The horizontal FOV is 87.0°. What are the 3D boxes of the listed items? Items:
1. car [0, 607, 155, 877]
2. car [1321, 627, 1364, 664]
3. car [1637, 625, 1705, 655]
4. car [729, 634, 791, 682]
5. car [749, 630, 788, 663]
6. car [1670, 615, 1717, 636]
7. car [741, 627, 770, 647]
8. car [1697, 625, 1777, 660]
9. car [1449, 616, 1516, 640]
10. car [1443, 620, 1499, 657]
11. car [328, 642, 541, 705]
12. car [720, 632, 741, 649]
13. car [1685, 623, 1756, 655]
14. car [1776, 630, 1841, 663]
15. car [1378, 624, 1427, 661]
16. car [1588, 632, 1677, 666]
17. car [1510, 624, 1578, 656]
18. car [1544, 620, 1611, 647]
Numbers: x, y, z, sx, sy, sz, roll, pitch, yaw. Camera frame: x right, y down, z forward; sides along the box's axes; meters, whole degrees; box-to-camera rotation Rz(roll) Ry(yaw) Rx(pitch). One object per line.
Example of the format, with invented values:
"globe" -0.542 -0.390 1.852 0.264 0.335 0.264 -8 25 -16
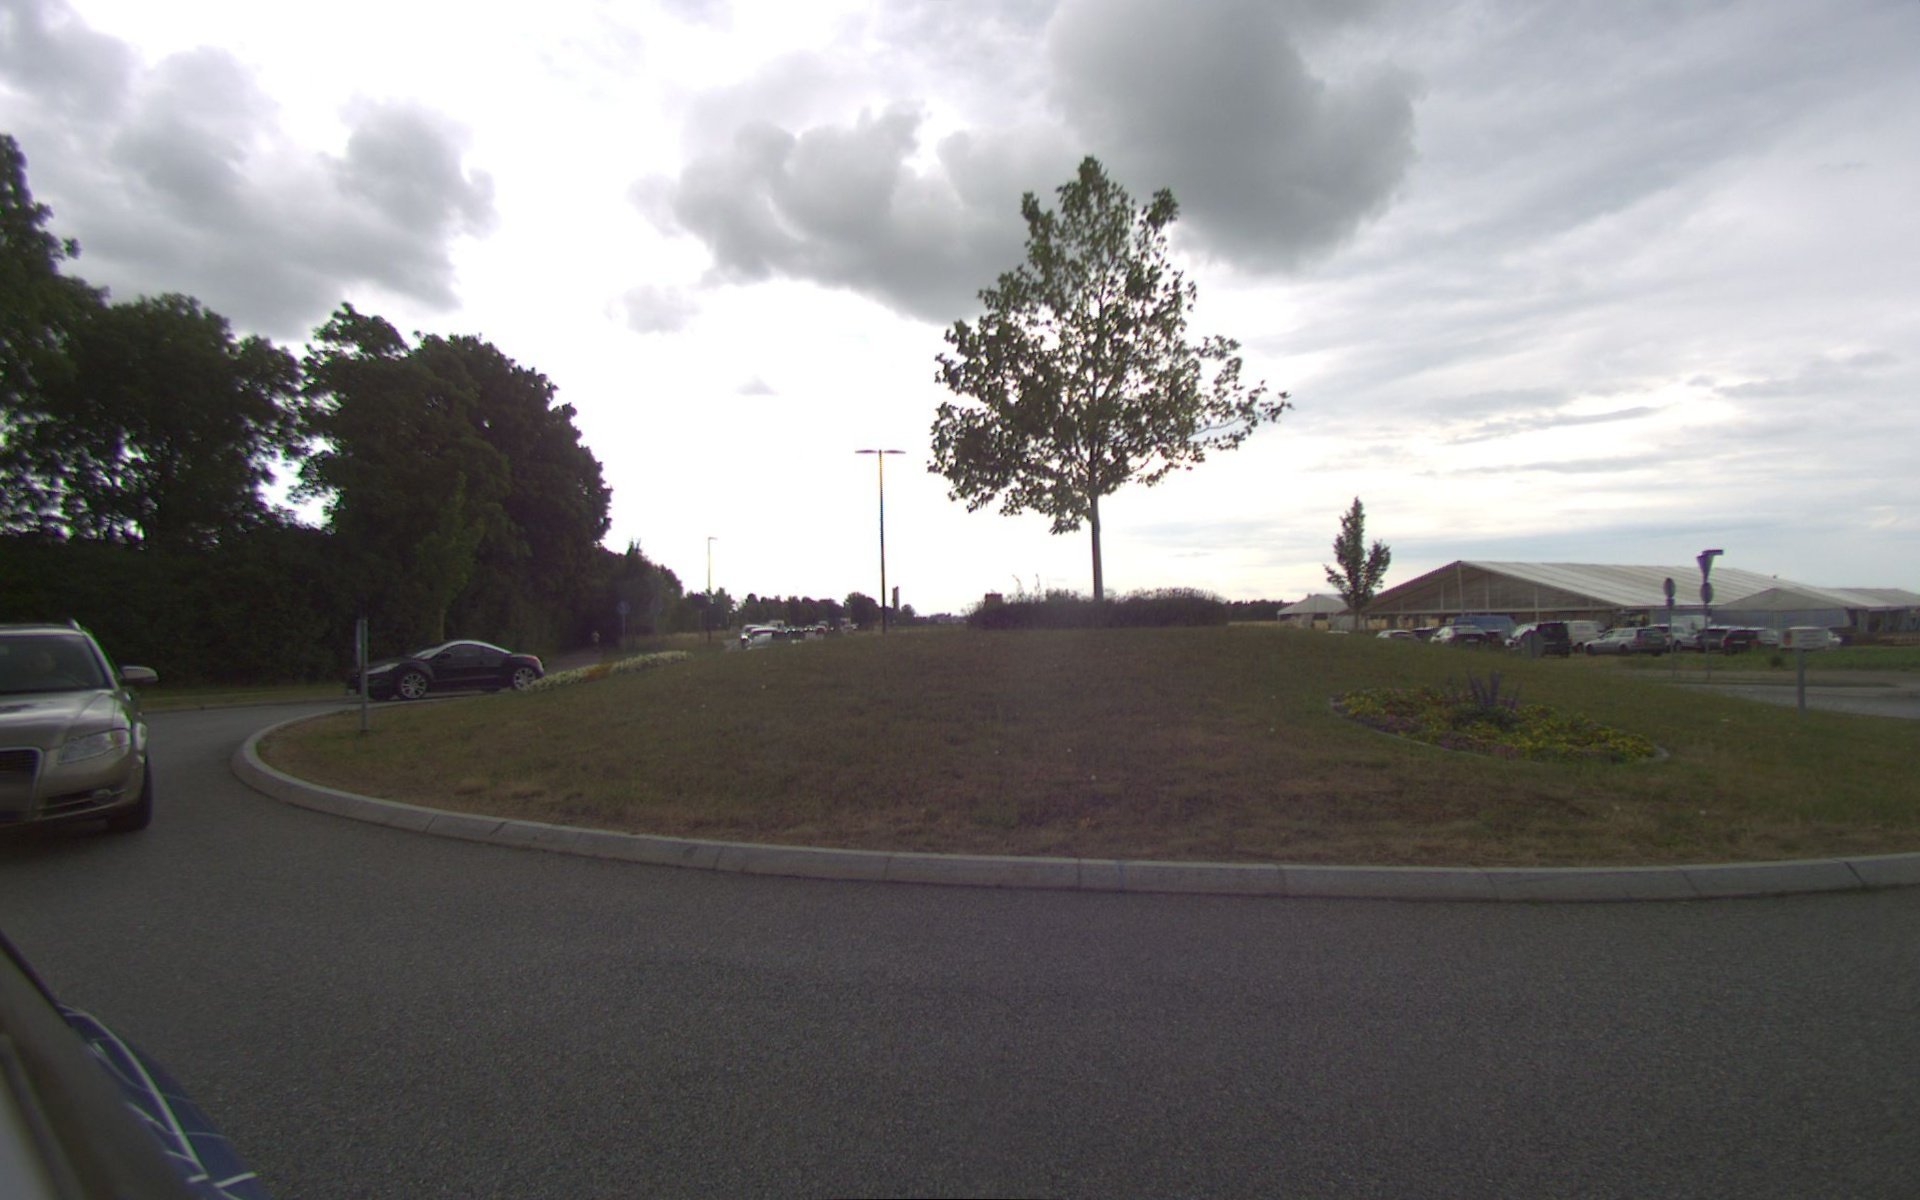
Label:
"car" -7.010 0.874 7.173 1.756 1.476 4.546 -2 0 -42
"car" 19.051 2.242 50.558 1.702 1.565 3.977 -4 -1 18
"car" 39.872 2.227 56.724 3.765 1.619 1.840 0 -2 -34
"car" -6.881 1.977 35.212 1.812 1.469 4.142 -1 -1 -7
"car" -9.581 2.323 50.814 1.753 1.510 3.817 -2 -1 -9
"car" 59.531 2.065 82.161 3.765 1.619 1.840 0 -2 -34
"car" -14.670 2.663 72.483 1.752 1.328 3.821 -2 -1 -14
"car" 37.526 2.030 48.983 1.621 1.619 3.857 -2 -2 15
"car" 34.635 1.839 67.048 3.931 1.453 1.958 -1 -1 -27
"car" 24.935 1.857 49.511 1.702 1.565 3.977 -4 -1 18
"car" -12.208 1.674 23.698 1.829 1.317 4.060 -4 -4 40
"car" -20.373 3.574 89.786 1.752 1.328 3.821 -2 -1 -14
"car" 40.961 2.102 54.500 3.765 1.619 1.840 0 -2 -34
"car" 43.508 2.368 51.878 3.936 1.565 1.735 0 -2 -38
"car" 21.770 2.063 49.952 1.702 1.565 3.977 -4 -1 18
"car" 33.416 2.403 50.421 1.710 1.619 3.877 -1 -2 -1
"car" 27.964 1.880 48.593 1.935 1.453 3.977 -2 -2 17
"car" 36.387 1.978 59.626 3.933 1.453 1.957 -1 -1 -35
